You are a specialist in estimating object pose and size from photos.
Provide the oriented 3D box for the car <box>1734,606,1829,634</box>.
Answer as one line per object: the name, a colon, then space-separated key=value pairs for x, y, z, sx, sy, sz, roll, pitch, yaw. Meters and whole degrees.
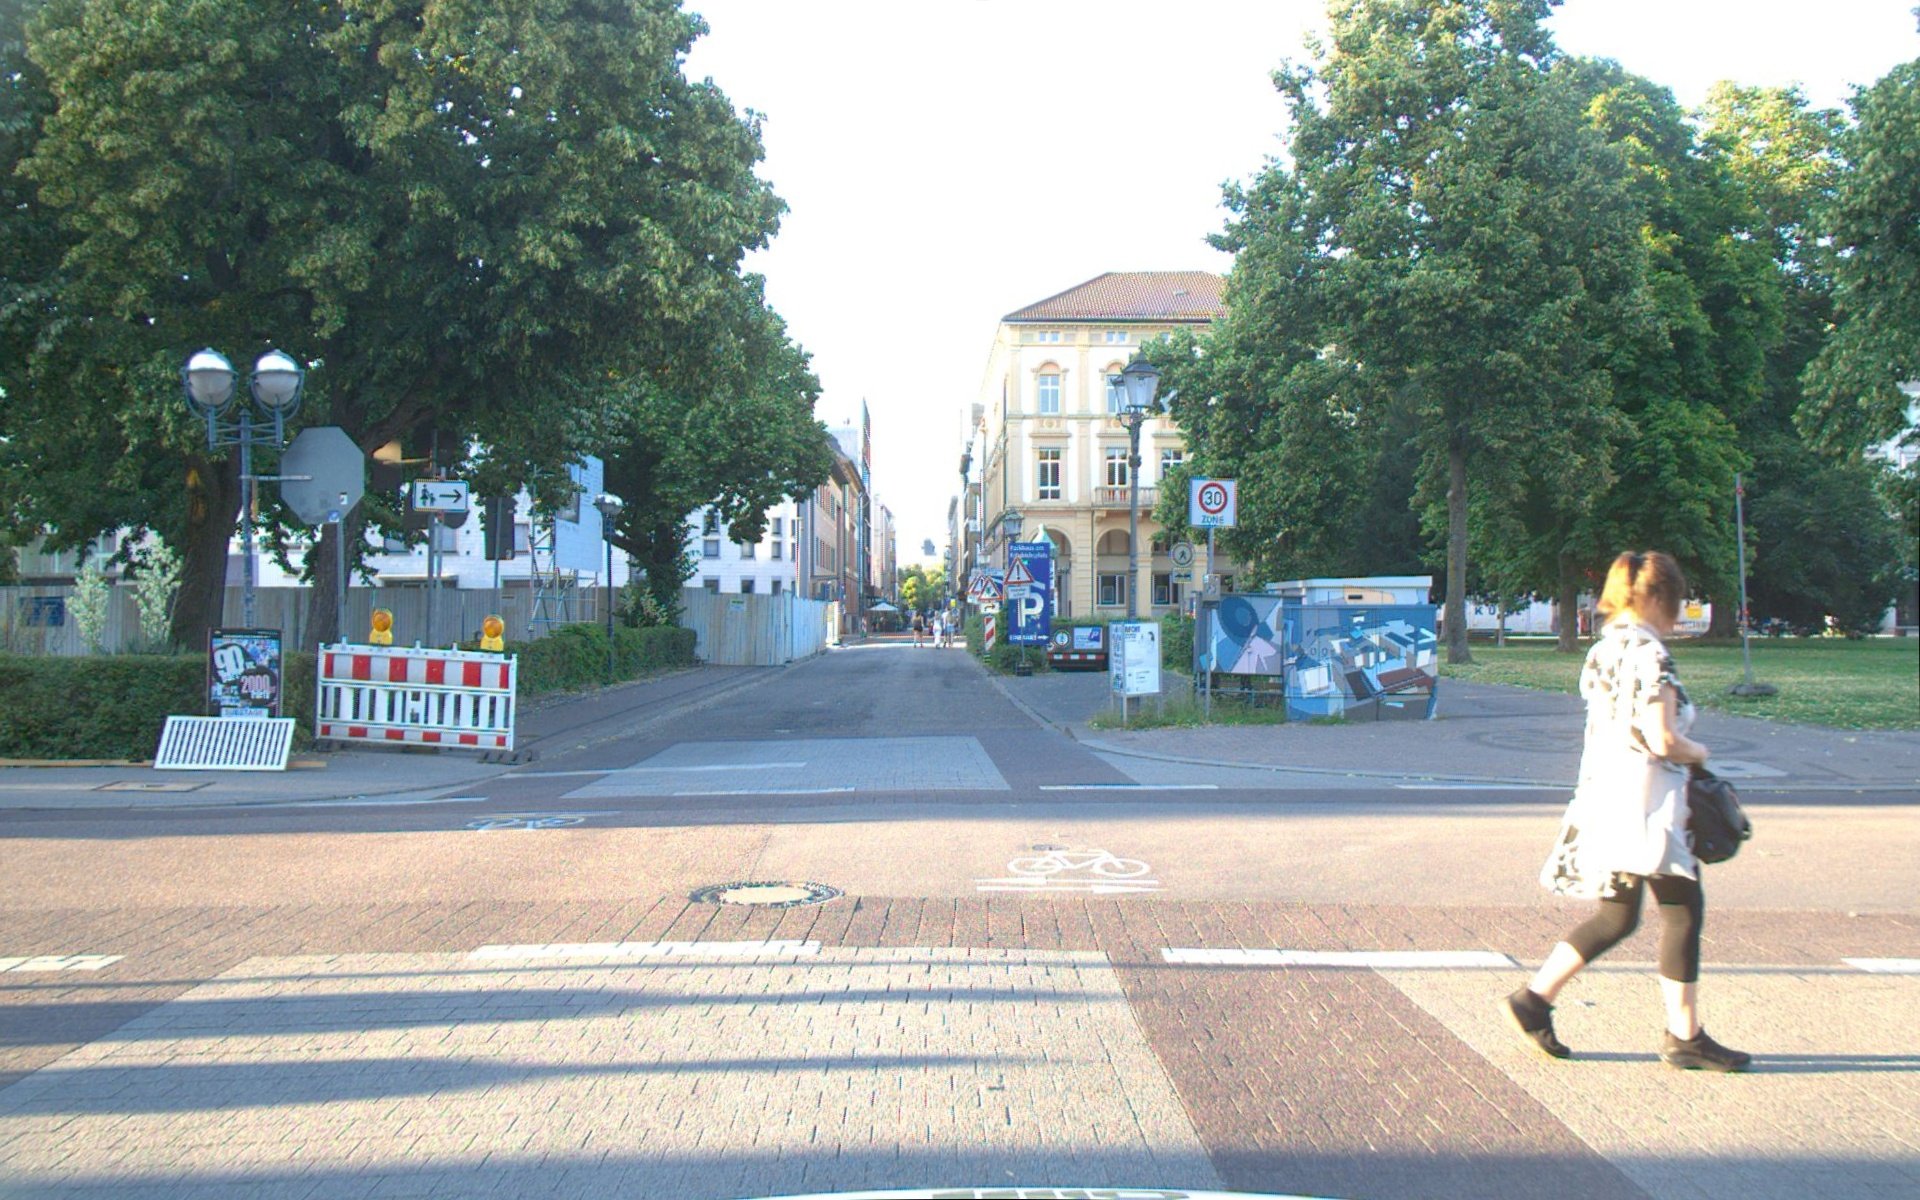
car: x=38.591 y=0.918 z=77.756 sx=3.506 sy=1.262 sz=1.996 roll=-1 pitch=0 yaw=-8

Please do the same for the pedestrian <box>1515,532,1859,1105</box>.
pedestrian: x=2.340 y=0.661 z=5.421 sx=0.719 sy=1.719 sz=0.836 roll=-1 pitch=-1 yaw=-2

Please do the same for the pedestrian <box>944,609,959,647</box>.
pedestrian: x=-0.364 y=1.218 z=72.610 sx=0.644 sy=1.645 sz=0.745 roll=-1 pitch=-1 yaw=-1

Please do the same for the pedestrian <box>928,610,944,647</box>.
pedestrian: x=-1.047 y=1.246 z=72.541 sx=0.644 sy=1.645 sz=0.745 roll=-1 pitch=-1 yaw=-1

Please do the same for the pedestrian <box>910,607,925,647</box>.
pedestrian: x=-1.884 y=1.201 z=73.883 sx=0.644 sy=1.790 sz=0.745 roll=-1 pitch=-1 yaw=-1

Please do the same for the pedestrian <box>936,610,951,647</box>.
pedestrian: x=-0.728 y=1.268 z=73.884 sx=0.644 sy=1.664 sz=0.745 roll=-1 pitch=-1 yaw=-1

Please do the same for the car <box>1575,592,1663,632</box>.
car: x=35.609 y=0.649 z=89.427 sx=3.949 sy=2.049 sz=2.000 roll=-1 pitch=-1 yaw=0
